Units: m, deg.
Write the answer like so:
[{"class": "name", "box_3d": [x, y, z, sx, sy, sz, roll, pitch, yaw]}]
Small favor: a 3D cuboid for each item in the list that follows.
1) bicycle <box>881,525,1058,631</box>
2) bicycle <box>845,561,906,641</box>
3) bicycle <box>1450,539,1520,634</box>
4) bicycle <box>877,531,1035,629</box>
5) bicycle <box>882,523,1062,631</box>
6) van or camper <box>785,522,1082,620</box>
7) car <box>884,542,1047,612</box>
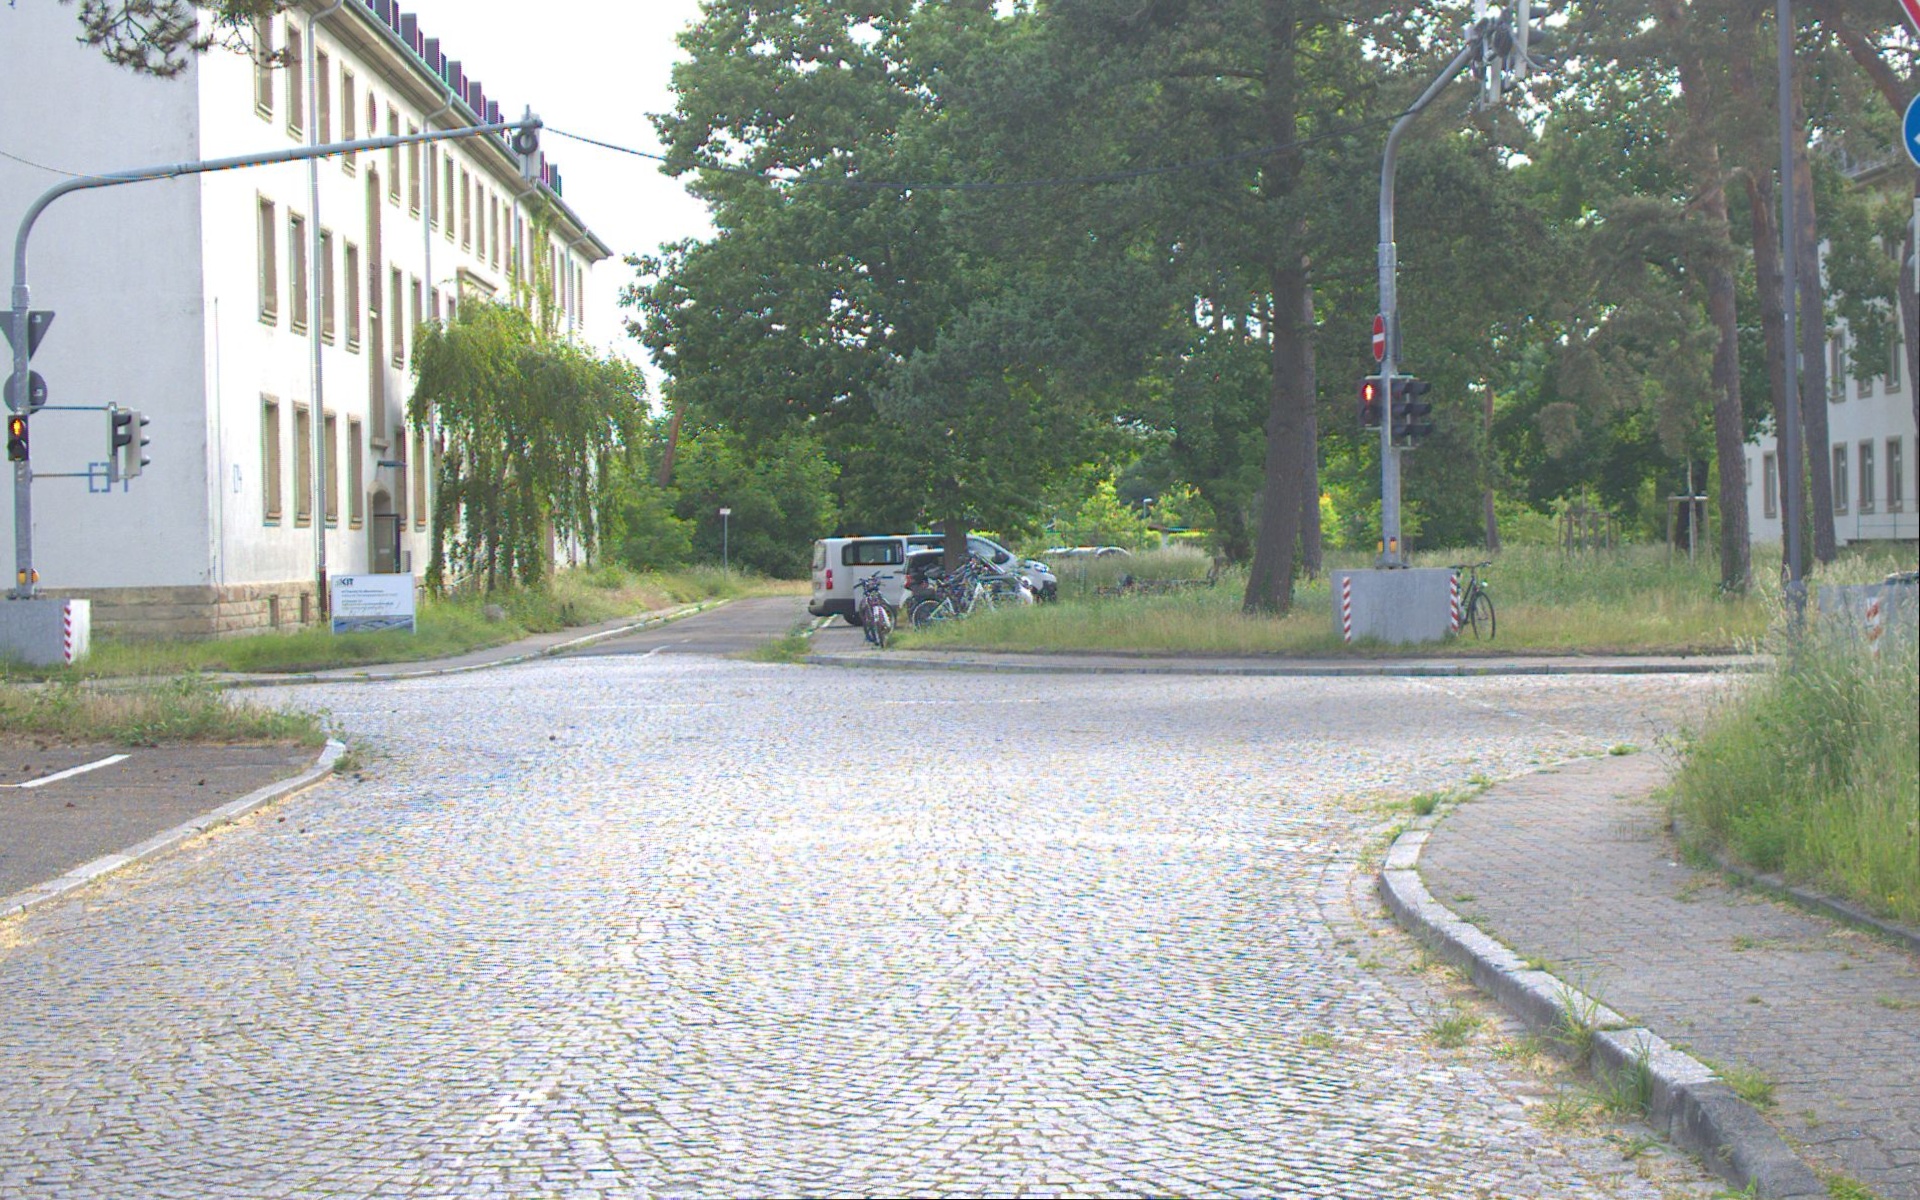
[{"class": "bicycle", "box_3d": [0.146, -0.371, 56.866, 2.775, 1.688, 1.120, -1, 1, -8]}, {"class": "bicycle", "box_3d": [-1.249, 0.002, 51.390, 0.725, 1.104, 2.462, -5, 1, 1]}, {"class": "bicycle", "box_3d": [6.692, -0.185, 43.901, 0.724, 1.165, 2.736, 1, 1, 6]}, {"class": "bicycle", "box_3d": [-0.056, -0.365, 61.770, 2.775, 1.688, 1.120, 1, 1, 1]}, {"class": "bicycle", "box_3d": [0.186, -0.380, 55.672, 2.775, 1.688, 1.120, -1, 1, -6]}, {"class": "van or camper", "box_3d": [-0.586, -0.639, 73.639, 6.030, 1.942, 2.001, -1, 1, -14]}, {"class": "car", "box_3d": [0.091, -0.474, 70.066, 3.137, 1.349, 1.620, -1, 1, -6]}]
